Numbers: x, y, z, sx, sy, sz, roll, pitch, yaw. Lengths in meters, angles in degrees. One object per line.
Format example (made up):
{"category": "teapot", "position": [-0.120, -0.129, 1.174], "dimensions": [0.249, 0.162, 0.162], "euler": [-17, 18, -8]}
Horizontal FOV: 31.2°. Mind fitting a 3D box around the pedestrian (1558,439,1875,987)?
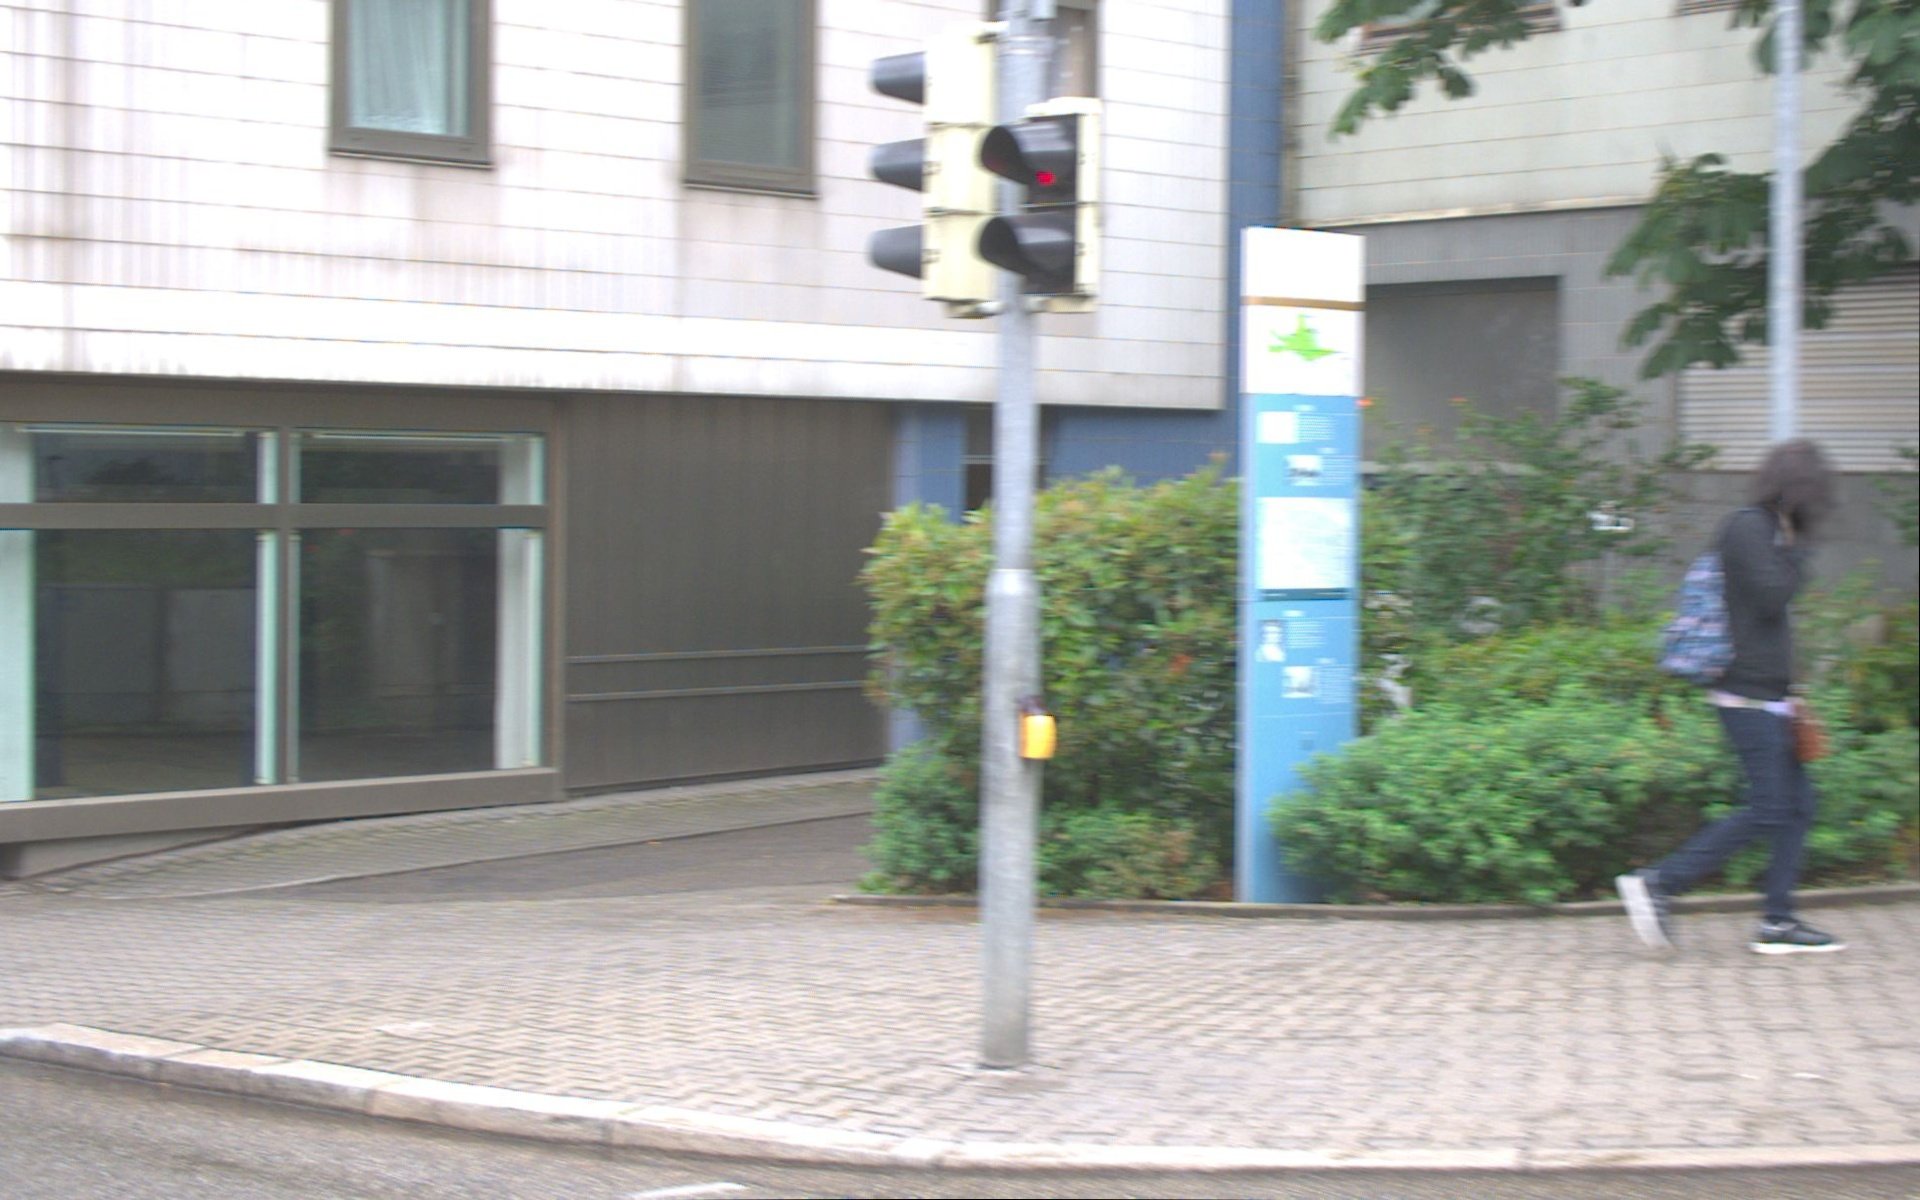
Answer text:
{"category": "pedestrian", "position": [2.619, 0.358, 11.976], "dimensions": [0.752, 1.811, 0.918], "euler": [-2, 2, -9]}
